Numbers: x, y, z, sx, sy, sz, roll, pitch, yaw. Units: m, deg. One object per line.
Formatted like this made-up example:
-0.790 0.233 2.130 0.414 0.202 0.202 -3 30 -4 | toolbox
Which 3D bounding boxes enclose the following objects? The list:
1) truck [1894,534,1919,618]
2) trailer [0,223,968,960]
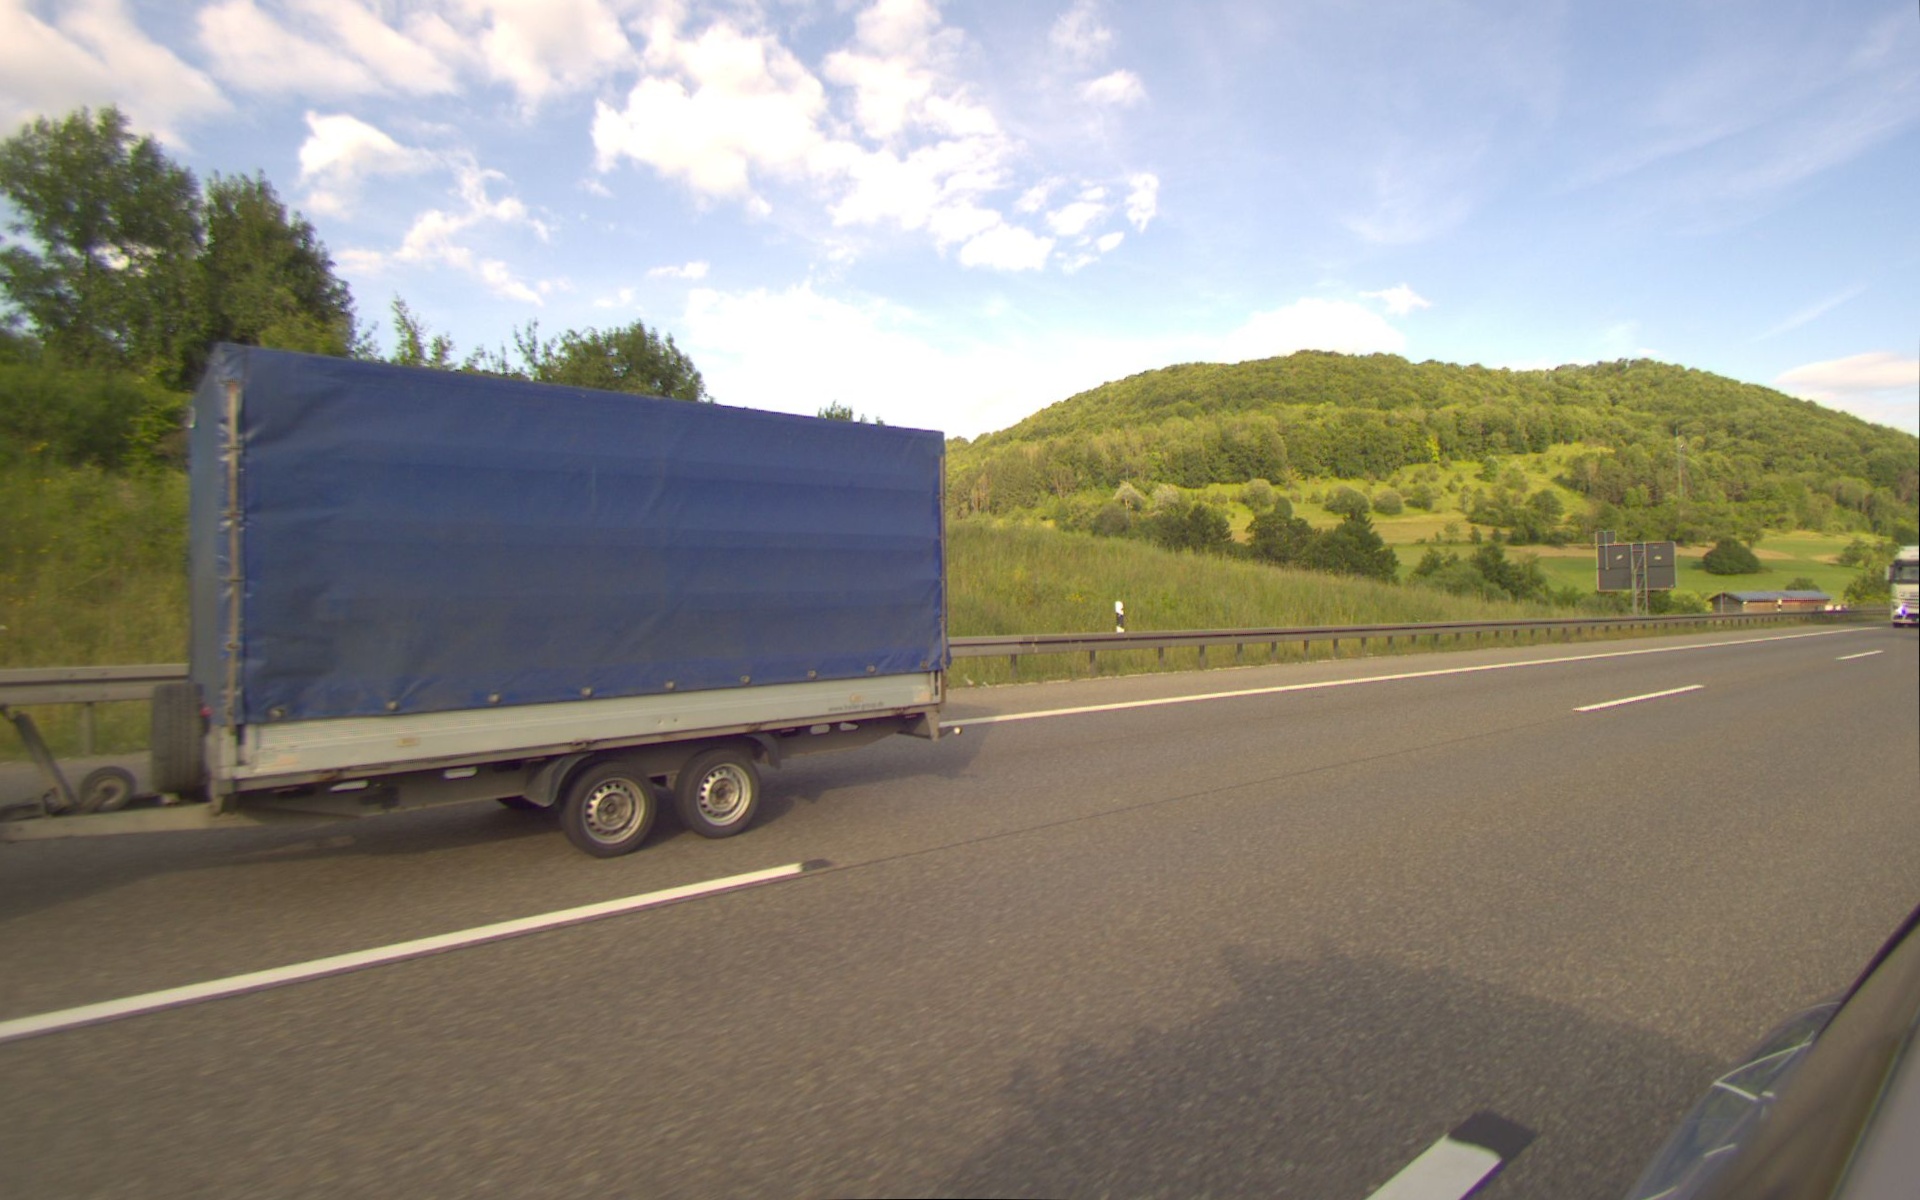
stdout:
50.493 -1.139 51.300 12.777 3.947 2.924 0 1 -40 | truck
-2.540 -0.054 6.025 5.157 2.760 1.997 0 1 -41 | trailer
